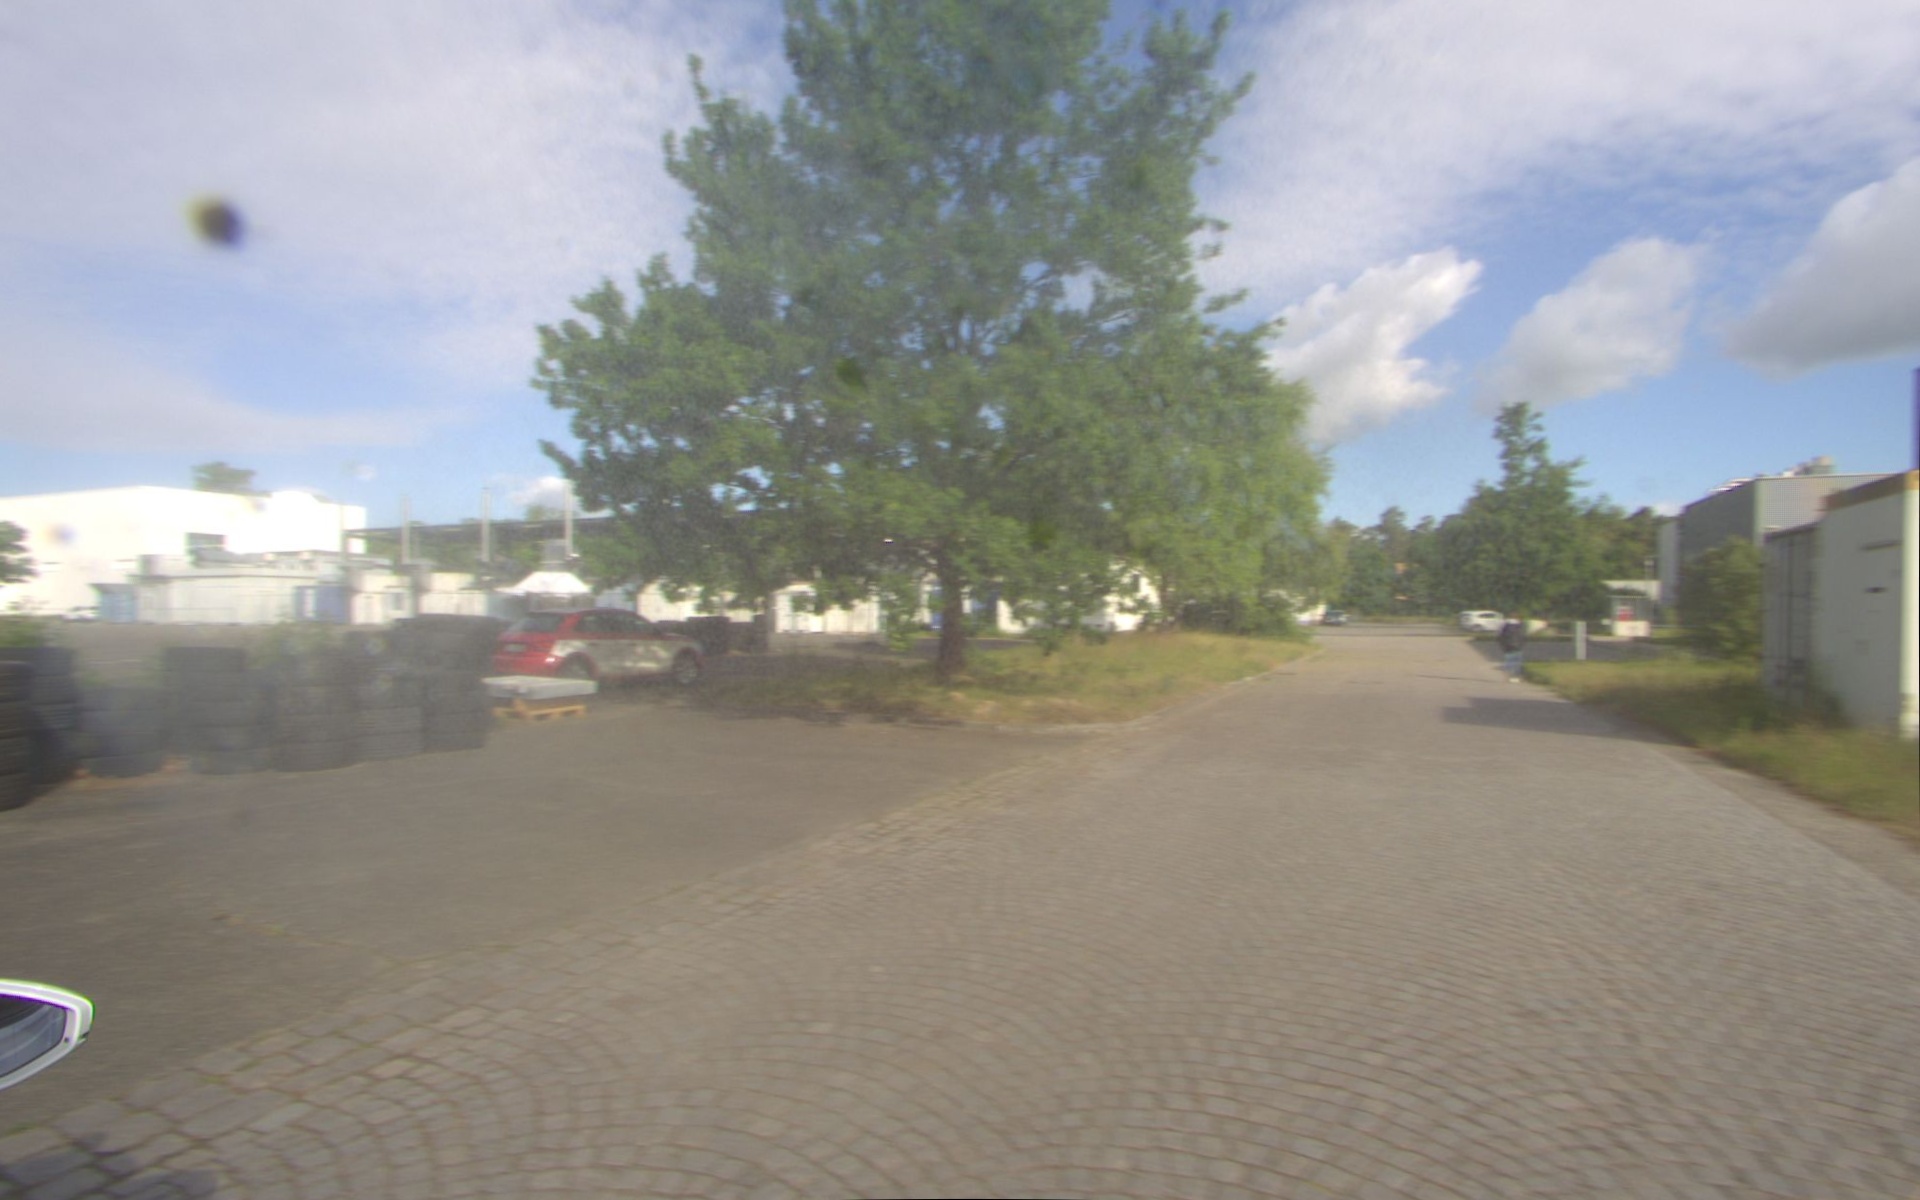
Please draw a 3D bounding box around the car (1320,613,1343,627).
[{"bbox_3d":[36.005,1.925,97.127,1.964,1.389,3.993,0,0,18],"label":"car"}]

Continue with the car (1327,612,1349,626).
[{"bbox_3d":[40.174,1.982,106.492,1.964,1.394,3.993,0,0,18],"label":"car"}]

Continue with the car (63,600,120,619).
[{"bbox_3d":[-73.512,0.790,84.740,4.470,1.585,1.870,0,0,23],"label":"car"}]

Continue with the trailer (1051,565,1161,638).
[{"bbox_3d":[7.958,0.129,53.264,2.879,3.517,9.866,1,0,26],"label":"trailer"}]

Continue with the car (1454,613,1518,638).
[{"bbox_3d":[36.883,1.777,70.228,3.940,1.664,1.991,0,0,30],"label":"car"}]

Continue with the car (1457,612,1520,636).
[{"bbox_3d":[38.264,1.725,72.450,3.940,1.664,1.991,0,0,30],"label":"car"}]

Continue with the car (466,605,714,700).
[{"bbox_3d":[-6.458,0.857,17.904,1.702,1.483,3.981,1,0,31],"label":"car"}]

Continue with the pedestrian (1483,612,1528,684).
[{"bbox_3d":[12.410,1.070,22.765,0.855,1.579,1.023,1,0,31],"label":"pedestrian"}]
